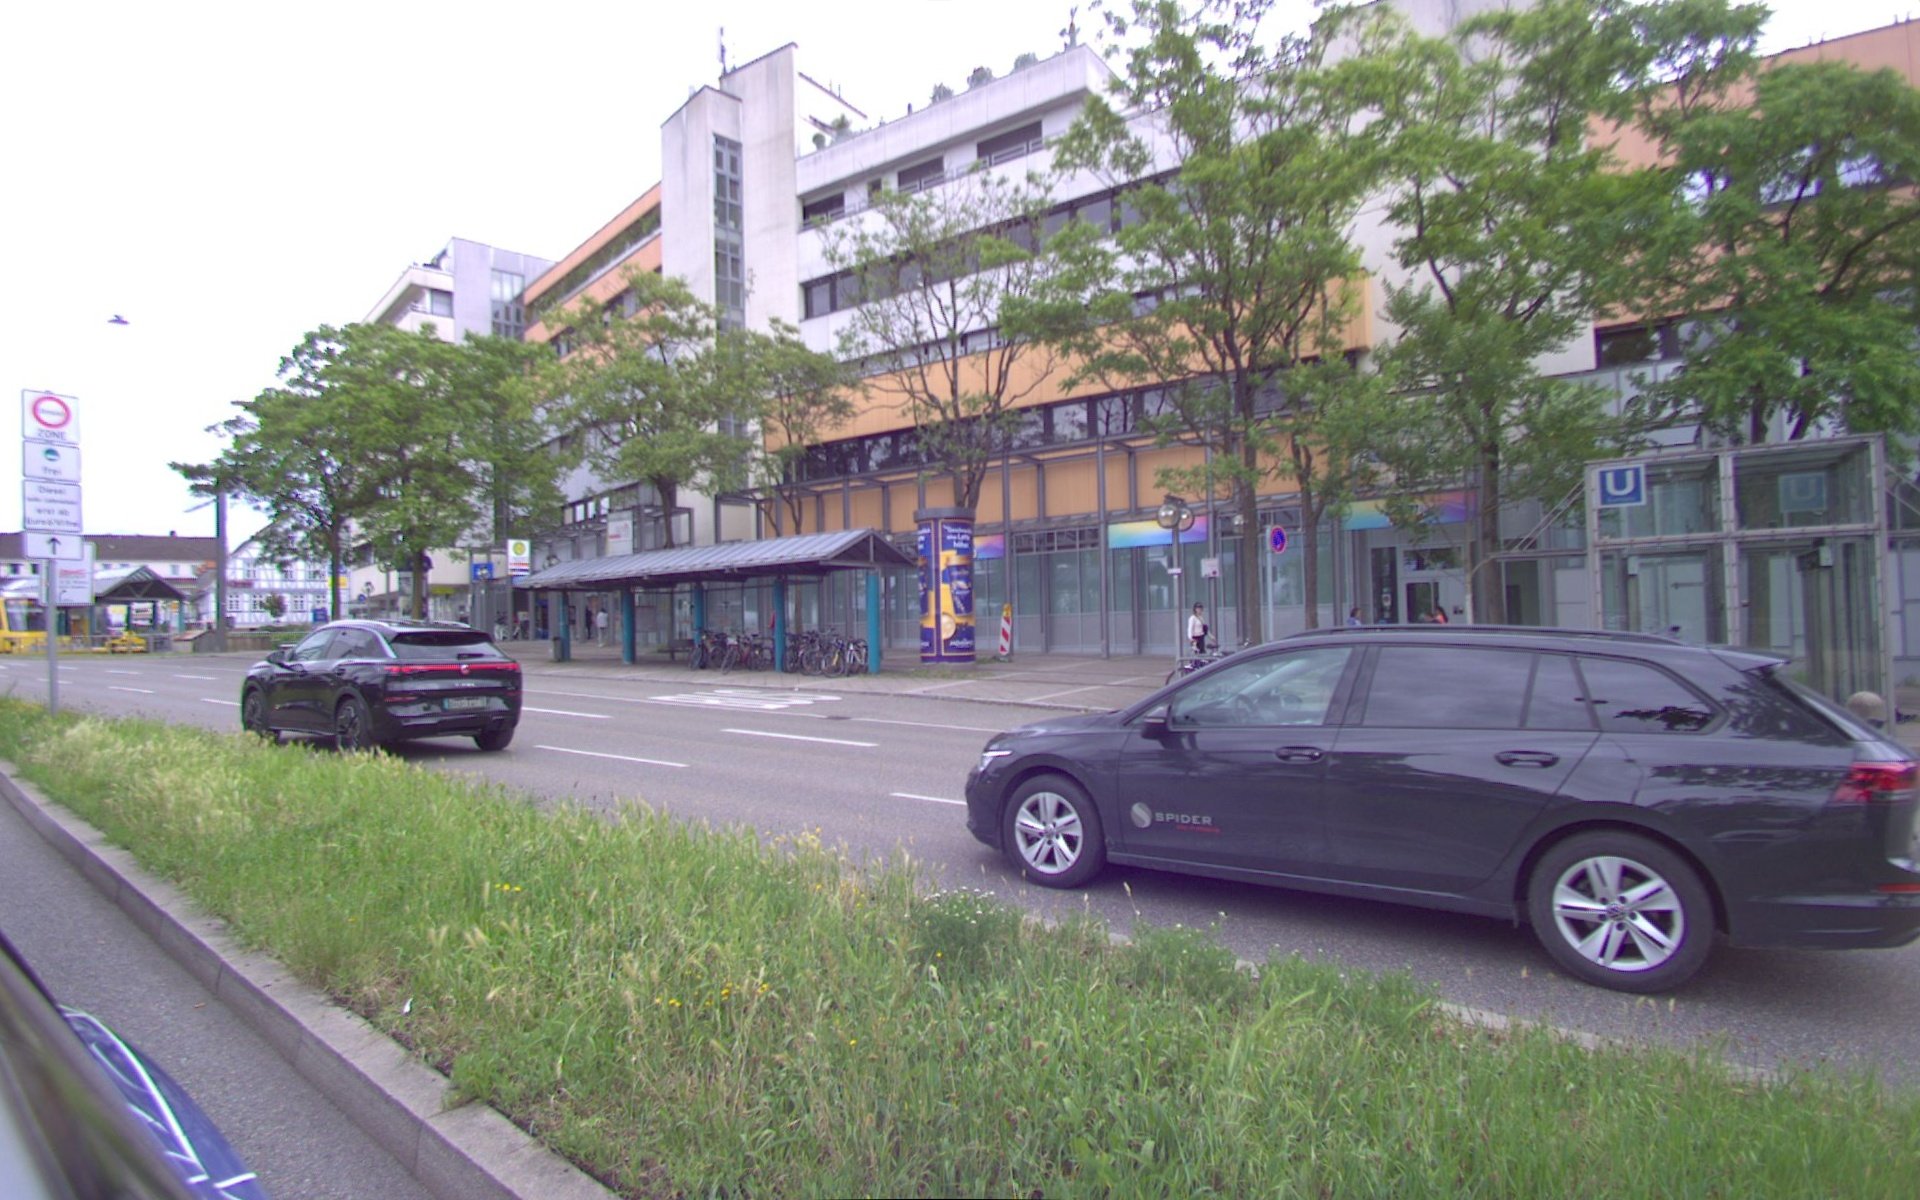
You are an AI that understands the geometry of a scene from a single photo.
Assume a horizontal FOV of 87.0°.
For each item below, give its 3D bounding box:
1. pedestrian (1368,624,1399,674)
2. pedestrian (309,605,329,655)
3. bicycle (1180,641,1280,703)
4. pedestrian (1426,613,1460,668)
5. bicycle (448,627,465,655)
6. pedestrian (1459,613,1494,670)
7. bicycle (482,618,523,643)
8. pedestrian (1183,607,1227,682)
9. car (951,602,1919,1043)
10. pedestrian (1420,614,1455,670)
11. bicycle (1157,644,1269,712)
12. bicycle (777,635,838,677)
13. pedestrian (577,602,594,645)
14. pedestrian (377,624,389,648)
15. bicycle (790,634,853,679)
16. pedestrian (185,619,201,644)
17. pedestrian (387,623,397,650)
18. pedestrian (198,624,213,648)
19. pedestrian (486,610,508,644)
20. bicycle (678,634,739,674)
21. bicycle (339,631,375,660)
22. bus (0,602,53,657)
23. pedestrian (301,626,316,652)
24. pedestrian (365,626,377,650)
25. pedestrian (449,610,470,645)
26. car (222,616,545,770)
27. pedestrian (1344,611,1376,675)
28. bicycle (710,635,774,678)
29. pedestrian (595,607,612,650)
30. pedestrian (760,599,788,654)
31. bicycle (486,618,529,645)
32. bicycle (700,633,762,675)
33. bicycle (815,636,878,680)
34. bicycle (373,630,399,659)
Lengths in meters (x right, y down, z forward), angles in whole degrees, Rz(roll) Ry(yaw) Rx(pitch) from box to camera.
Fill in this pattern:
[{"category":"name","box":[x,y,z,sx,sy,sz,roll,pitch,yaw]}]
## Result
[{"category":"pedestrian","box":[10.330,1.184,24.696,0.620,1.190,0.418,-1,-2,31]},{"category":"pedestrian","box":[-29.912,1.390,47.230,0.608,2.325,0.583,-1,-2,39]},{"category":"bicycle","box":[4.984,1.313,18.784,1.737,1.074,0.542,-2,-1,45]},{"category":"pedestrian","box":[12.312,1.029,25.802,0.694,1.385,0.578,-1,-2,34]},{"category":"bicycle","box":[-21.352,1.708,42.923,0.584,1.134,2.044,1,-1,-26]},{"category":"pedestrian","box":[12.884,1.021,25.246,0.694,1.385,0.578,-1,-2,34]},{"category":"bicycle","box":[-26.097,1.737,57.760,2.106,1.377,0.621,-1,0,-24]},{"category":"pedestrian","box":[5.534,0.995,22.859,0.721,1.662,0.669,-1,-1,37]},{"category":"car","box":[2.163,0.801,5.299,4.279,1.492,1.694,-1,-2,36]},{"category":"pedestrian","box":[11.896,1.034,25.217,0.694,1.385,0.578,-1,-2,34]},{"category":"bicycle","box":[4.368,1.324,17.593,0.802,1.068,1.739,0,-1,-40]},{"category":"bicycle","box":[-4.138,1.515,27.555,0.549,1.048,1.714,-2,-1,38]},{"category":"pedestrian","box":[-17.768,1.121,48.005,0.558,2.029,0.611,1,-2,-44]},{"category":"pedestrian","box":[-36.571,2.269,64.162,0.548,1.506,0.454,1,-2,-41]},{"category":"bicycle","box":[-3.614,1.458,26.587,0.549,1.048,1.714,-2,0,38]},{"category":"pedestrian","box":[-62.374,2.574,82.308,0.867,2.029,1.010,1,-2,-44]},{"category":"pedestrian","box":[-35.962,2.302,64.057,0.479,1.650,0.439,-1,0,-32]},{"category":"pedestrian","box":[-50.121,2.394,67.236,0.581,1.554,0.570,-1,-2,32]},{"category":"pedestrian","box":[-23.440,1.357,51.264,0.752,1.695,0.755,-1,-2,41]},{"category":"bicycle","box":[-7.233,1.535,29.143,0.549,1.048,1.714,-2,0,38]},{"category":"bicycle","box":[-23.614,1.767,39.646,0.585,1.085,2.042,0,-1,-12]},{"category":"bus","box":[-55.982,1.686,58.609,8.470,3.006,2.530,-1,-2,29]},{"category":"pedestrian","box":[-40.381,2.418,62.735,0.581,1.554,0.570,-1,-2,32]},{"category":"pedestrian","box":[-37.094,2.394,63.764,0.548,1.506,0.454,1,-2,-41]},{"category":"pedestrian","box":[-26.748,1.461,54.085,0.752,1.859,0.755,-1,-2,41]},{"category":"car","box":[-7.002,0.985,12.174,4.063,1.533,1.819,0,-2,36]},{"category":"pedestrian","box":[9.640,1.035,24.415,0.620,1.515,0.563,-1,-2,31]},{"category":"bicycle","box":[-5.960,1.530,27.716,0.549,1.048,1.714,-2,1,38]},{"category":"pedestrian","box":[-15.473,1.243,43.901,0.639,1.823,0.761,0,-2,-16]},{"category":"pedestrian","box":[-7.039,0.993,38.321,0.791,2.029,0.703,-1,0,31]},{"category":"bicycle","box":[-24.948,1.726,55.782,2.107,1.385,0.621,-1,0,-31]},{"category":"bicycle","box":[-6.455,1.513,28.578,0.549,1.048,1.714,-2,1,38]},{"category":"bicycle","box":[-2.904,1.474,26.055,0.549,1.048,1.714,-2,0,38]},{"category":"bicycle","box":[-22.747,1.754,40.103,0.584,1.085,2.044,0,-1,-21]}]
